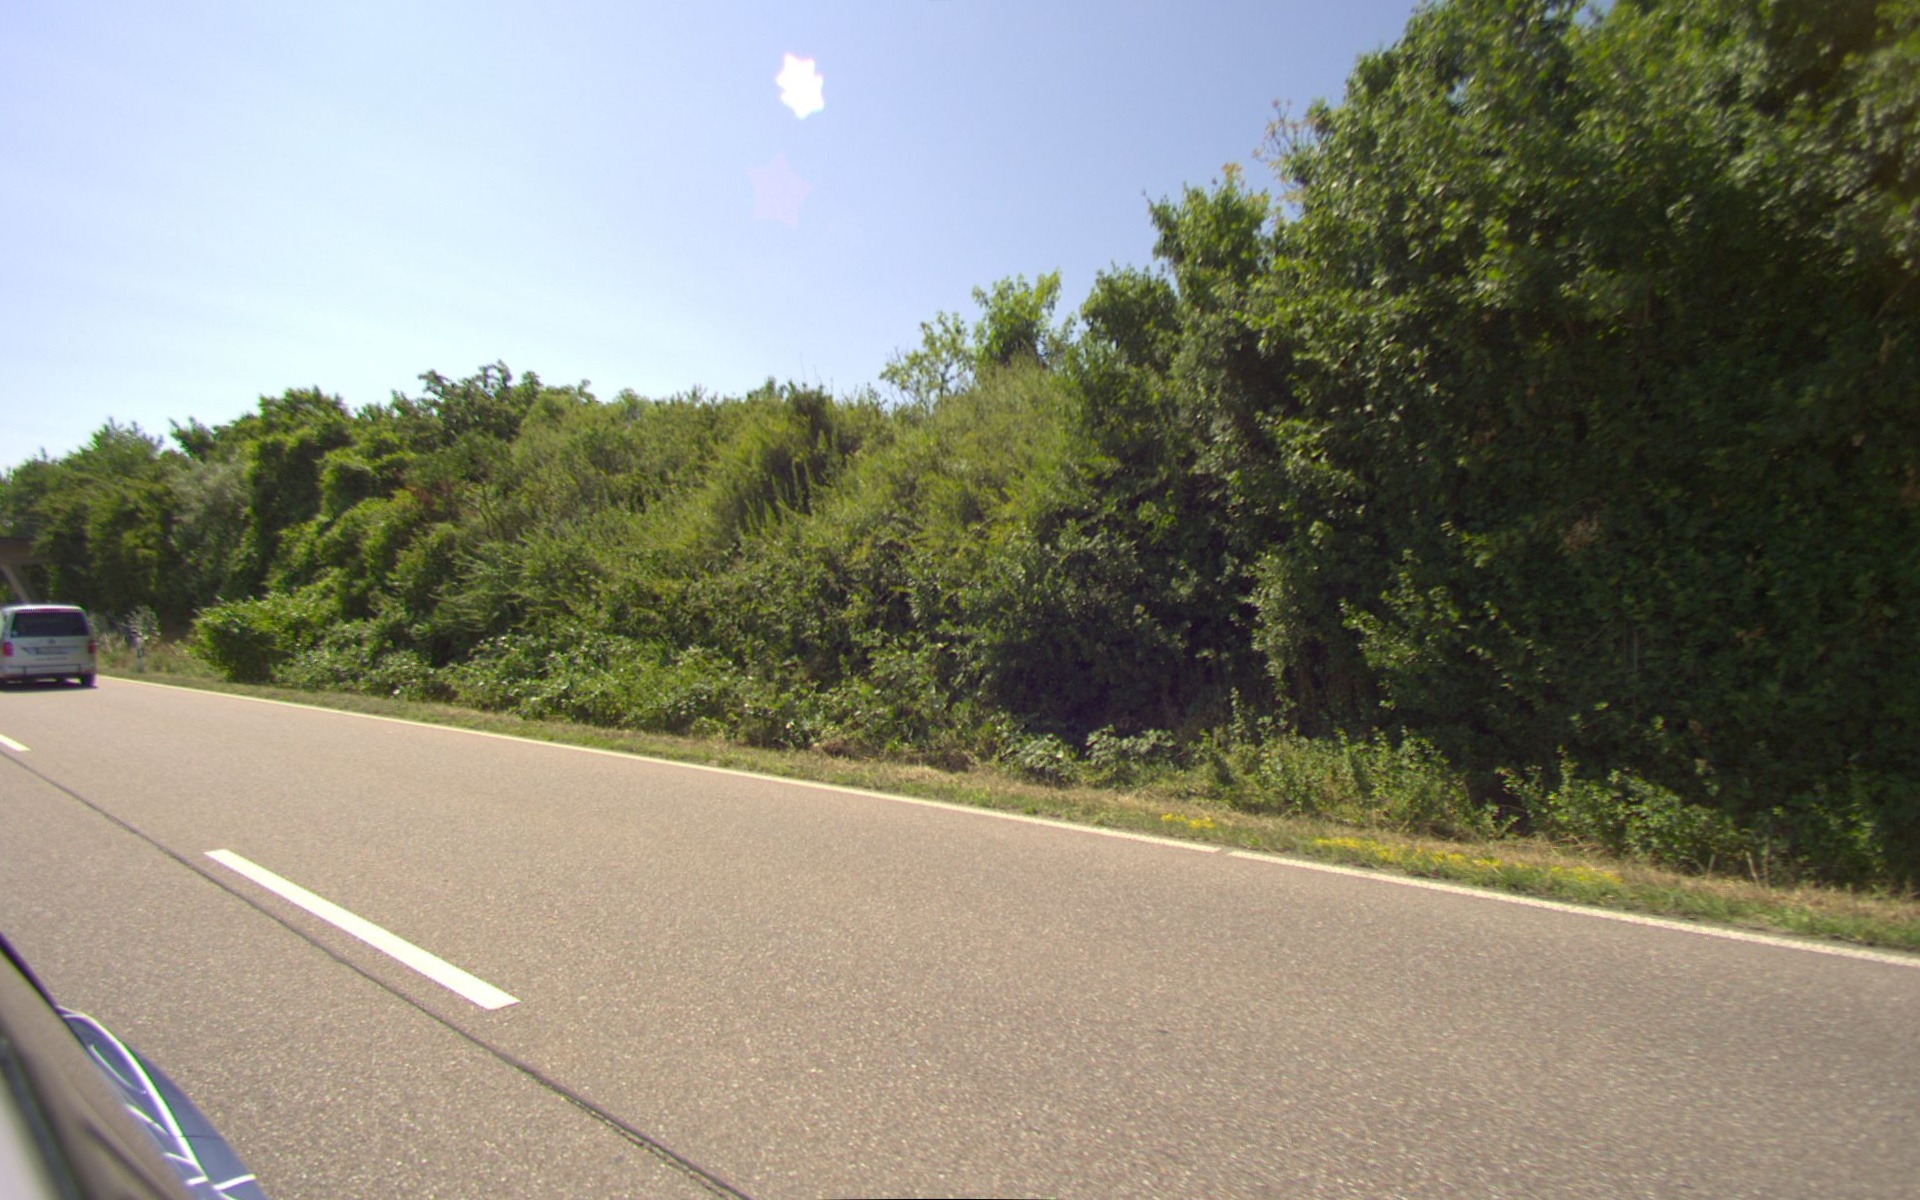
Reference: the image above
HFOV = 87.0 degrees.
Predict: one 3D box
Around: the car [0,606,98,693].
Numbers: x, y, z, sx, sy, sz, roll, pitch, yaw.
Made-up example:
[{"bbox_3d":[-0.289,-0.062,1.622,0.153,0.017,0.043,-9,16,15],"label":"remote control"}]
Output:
[{"bbox_3d":[-21.690,1.096,23.538,4.800,1.833,1.745,-1,-1,40],"label":"car"}]
